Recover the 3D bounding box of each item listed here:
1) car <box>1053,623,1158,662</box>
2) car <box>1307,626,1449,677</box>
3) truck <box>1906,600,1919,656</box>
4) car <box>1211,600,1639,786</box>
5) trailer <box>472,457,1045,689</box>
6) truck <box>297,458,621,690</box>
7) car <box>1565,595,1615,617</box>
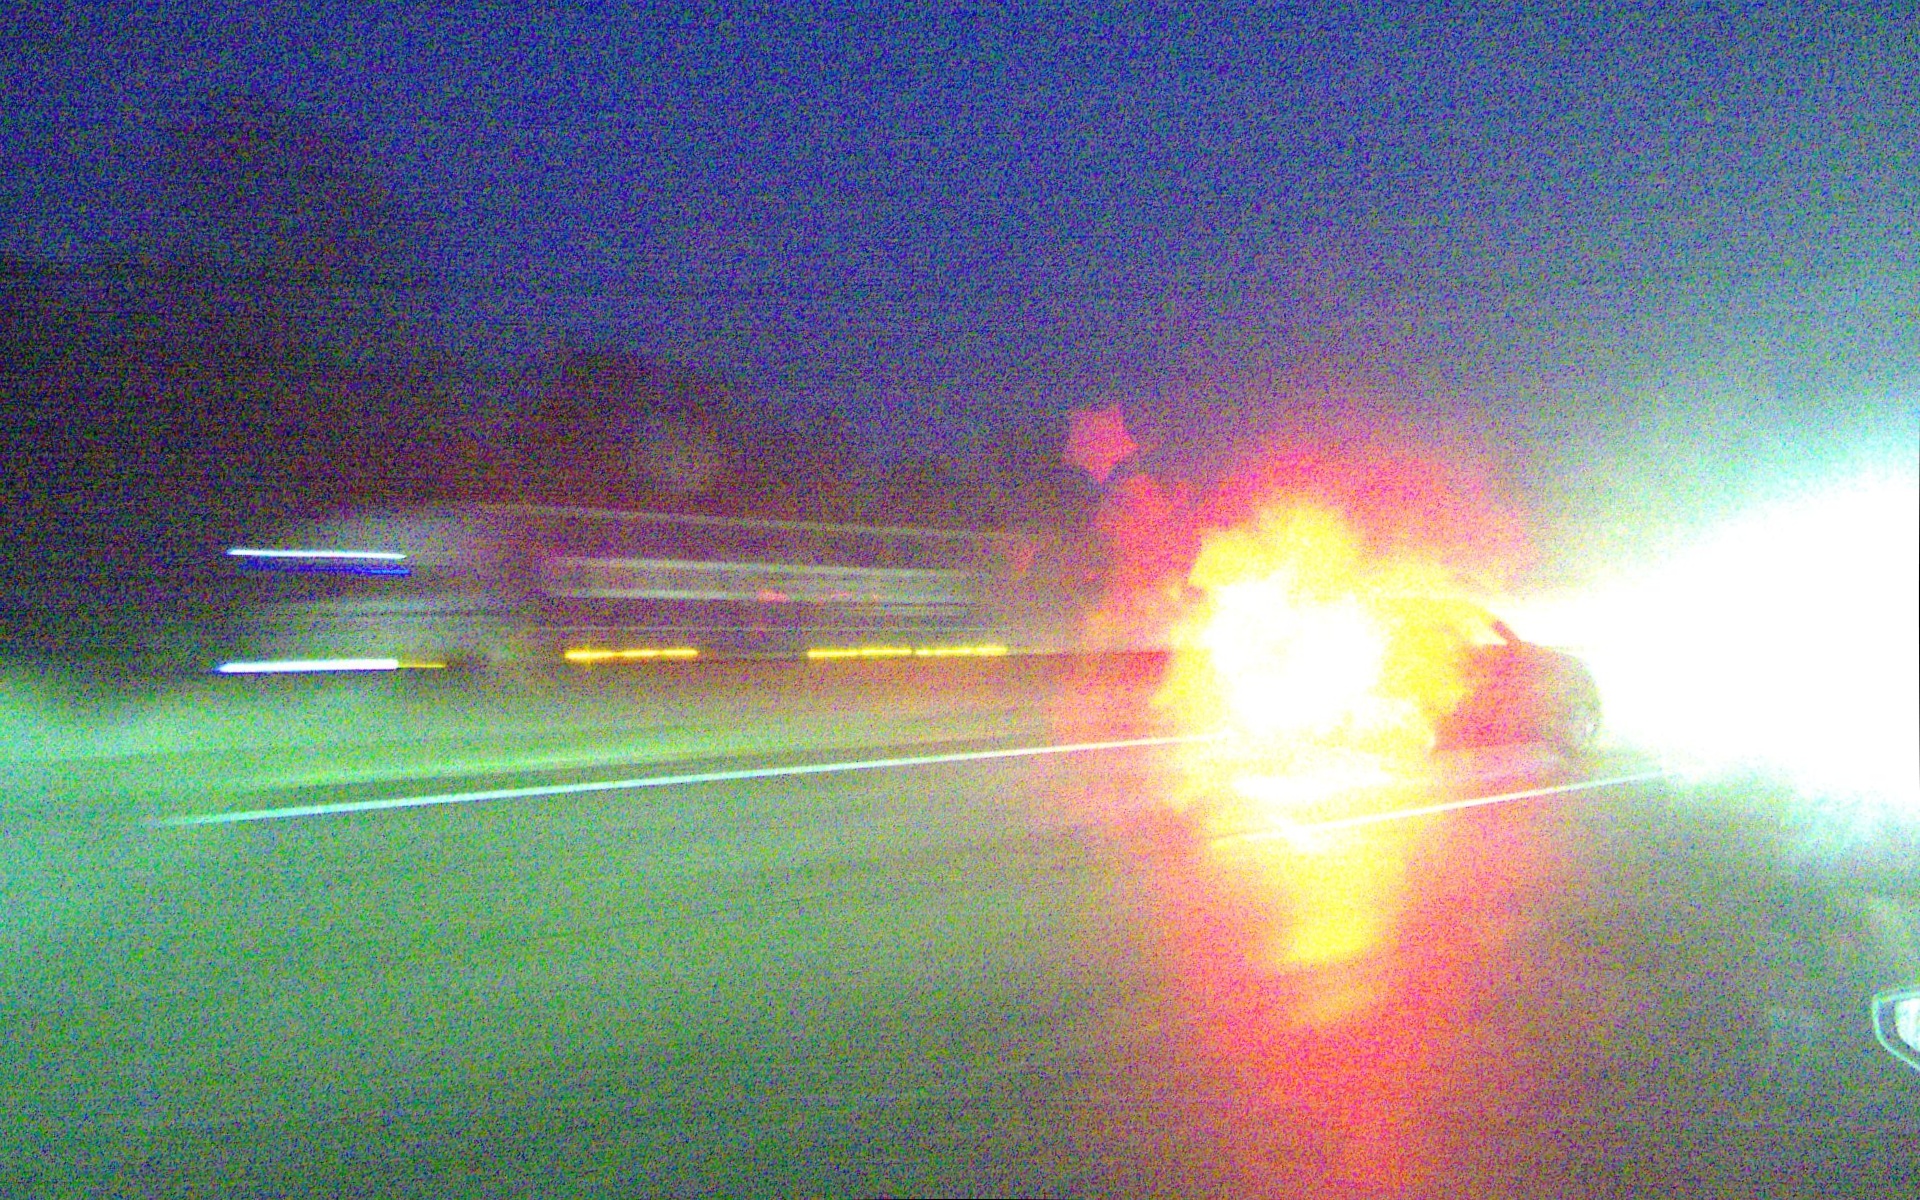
[{"bbox_3d":[5.359,1.565,36.845,3.660,1.316,1.606,3,-4,-31],"label":"car"},{"bbox_3d":[11.651,1.464,27.924,3.955,1.316,1.659,3,-4,-31],"label":"car"},{"bbox_3d":[72.834,2.157,74.044,7.271,4.058,2.797,3,-4,-33],"label":"truck"},{"bbox_3d":[5.013,0.844,10.609,4.698,1.561,1.848,1,0,-33],"label":"car"},{"bbox_3d":[-4.176,-0.184,24.670,13.765,4.602,2.535,3,-4,-32],"label":"trailer"},{"bbox_3d":[-10.246,-0.310,20.810,5.580,4.209,2.524,3,-3,-32],"label":"truck"},{"bbox_3d":[56.363,0.534,89.865,4.215,1.812,1.780,1,2,-27],"label":"car"}]
